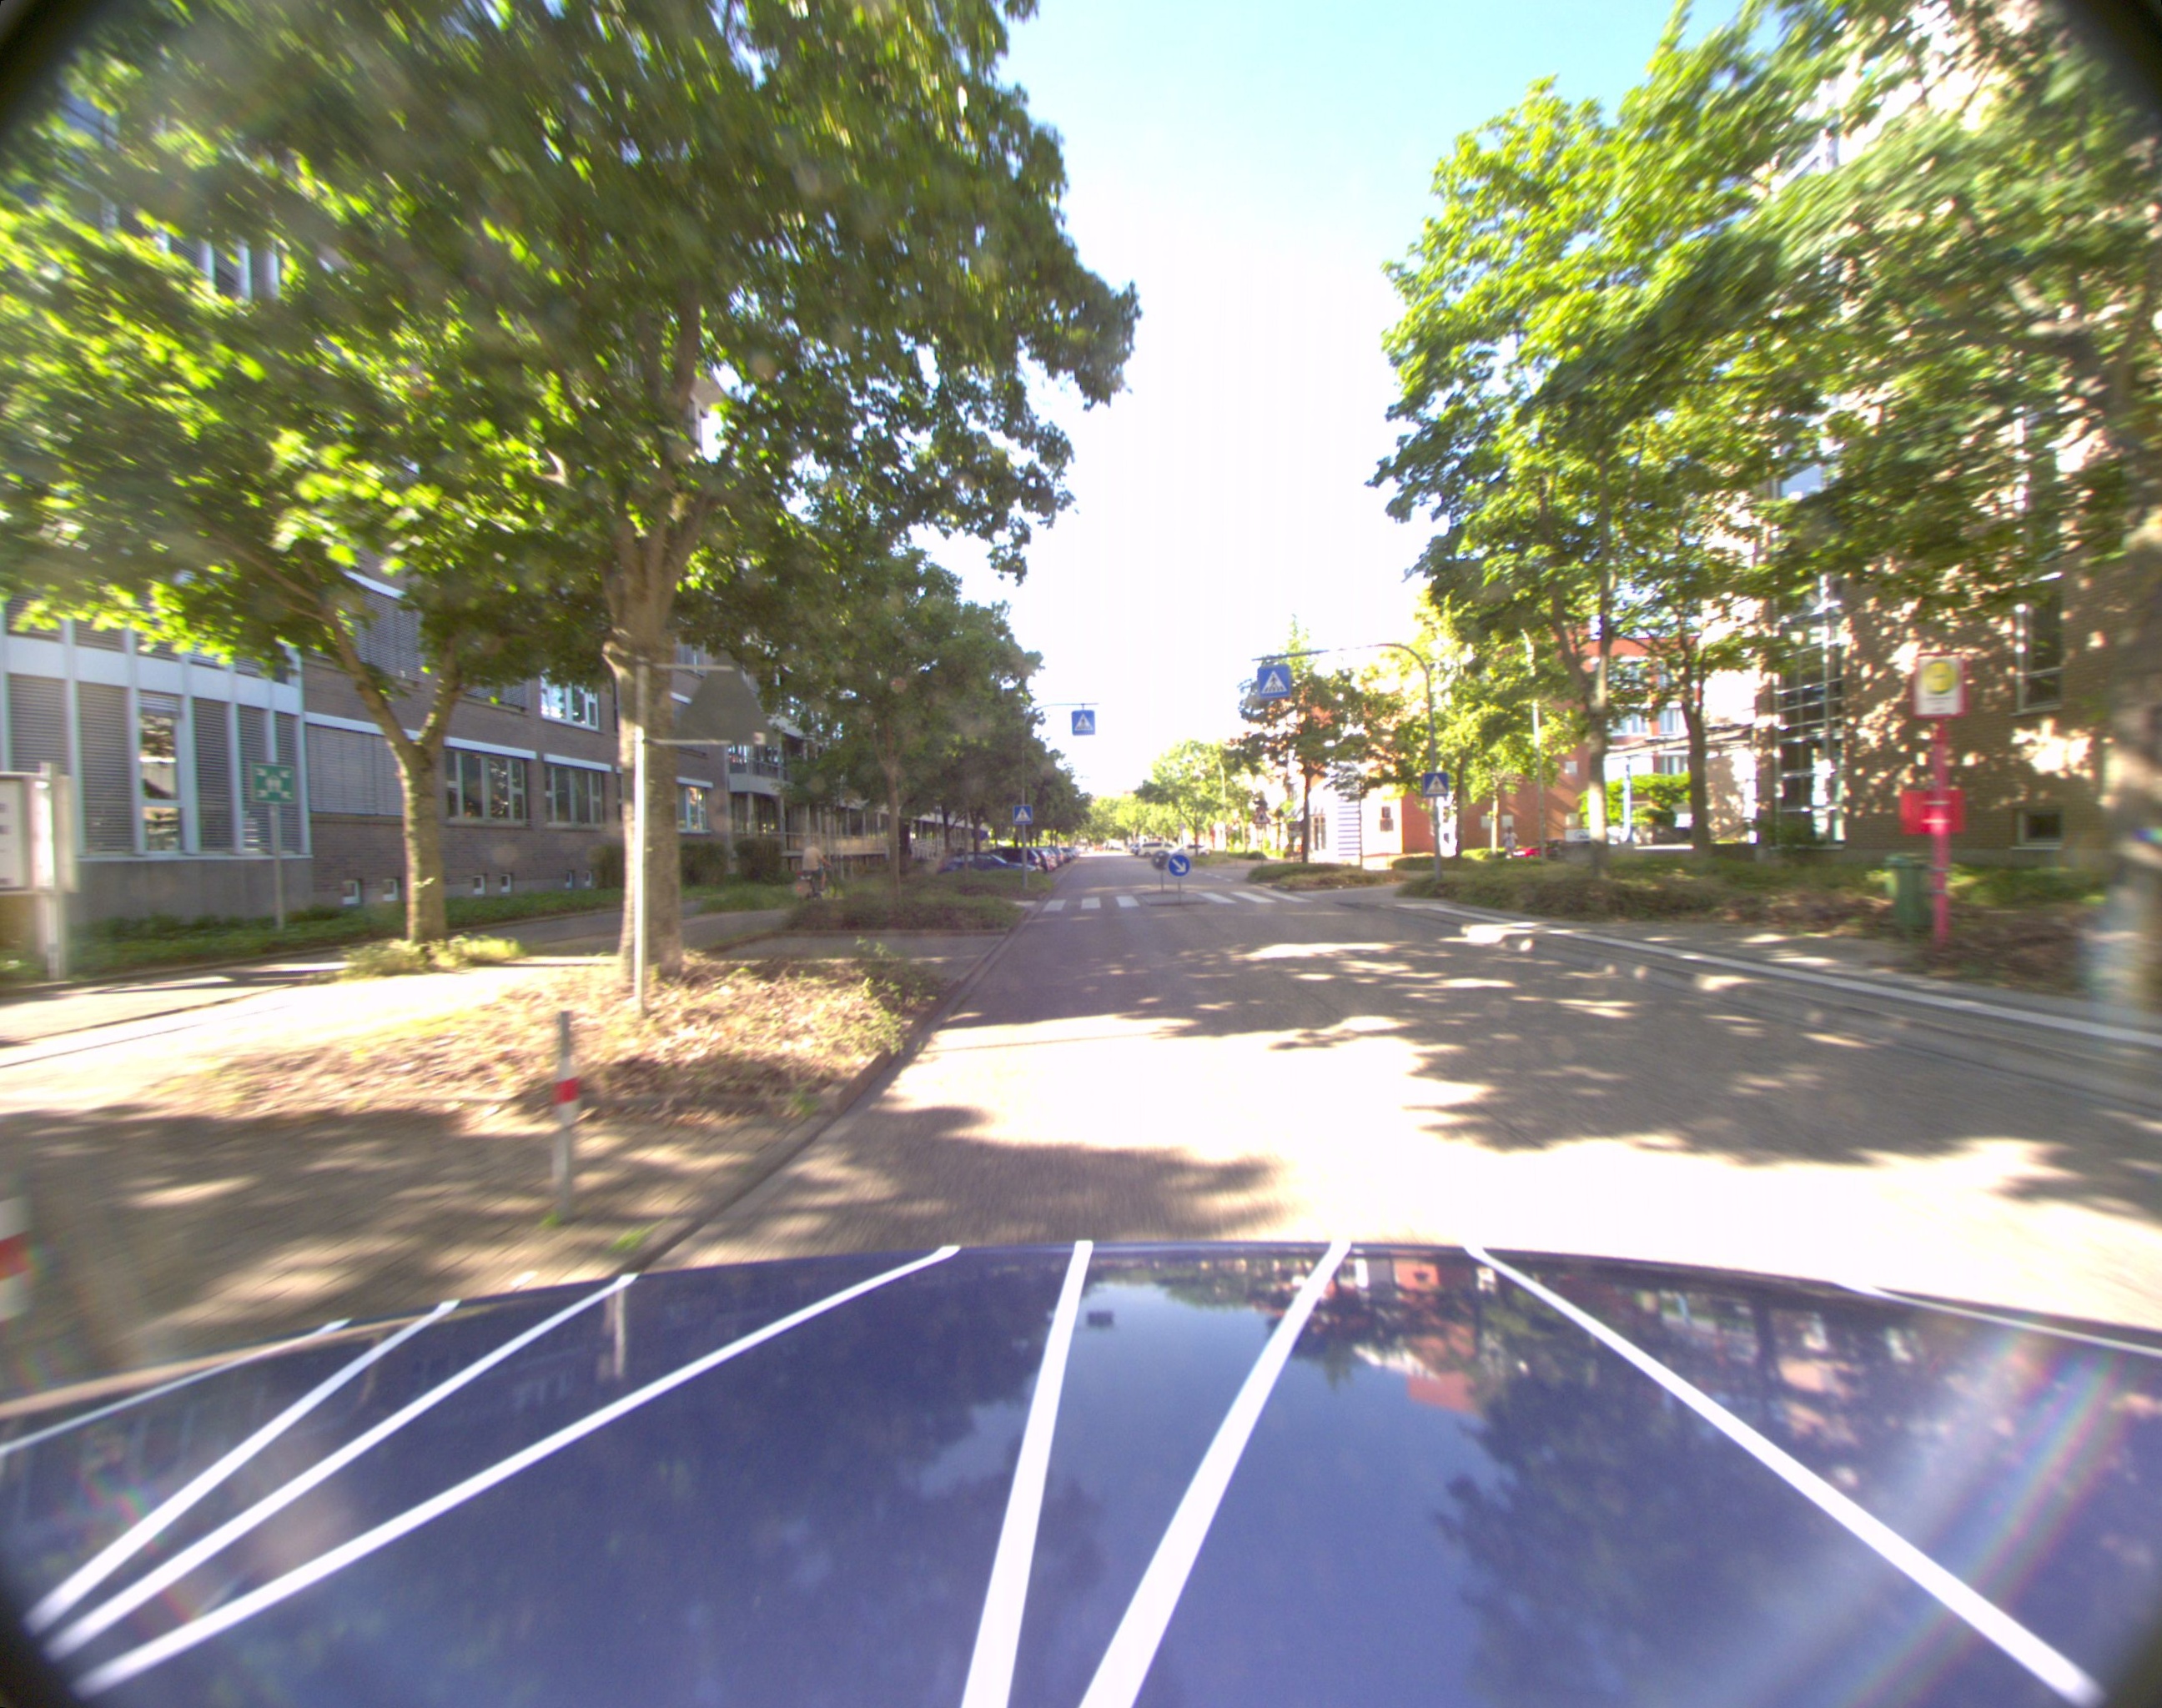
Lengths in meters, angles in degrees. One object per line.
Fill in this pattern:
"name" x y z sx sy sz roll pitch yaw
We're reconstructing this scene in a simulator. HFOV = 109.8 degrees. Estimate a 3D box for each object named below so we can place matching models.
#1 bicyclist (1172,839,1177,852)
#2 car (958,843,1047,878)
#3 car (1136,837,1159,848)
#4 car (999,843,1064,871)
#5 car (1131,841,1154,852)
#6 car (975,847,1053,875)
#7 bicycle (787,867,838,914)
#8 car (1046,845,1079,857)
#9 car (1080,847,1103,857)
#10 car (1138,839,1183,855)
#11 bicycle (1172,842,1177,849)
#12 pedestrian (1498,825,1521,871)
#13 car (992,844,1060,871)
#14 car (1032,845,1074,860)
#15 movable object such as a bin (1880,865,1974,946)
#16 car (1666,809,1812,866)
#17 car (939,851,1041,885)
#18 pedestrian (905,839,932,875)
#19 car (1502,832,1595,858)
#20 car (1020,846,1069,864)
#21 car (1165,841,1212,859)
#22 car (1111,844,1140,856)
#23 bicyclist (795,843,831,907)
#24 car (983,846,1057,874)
"bicyclist" 14.398 -1.277 116.972 0.633 2.002 0.609 -3 2 4
"car" -3.731 0.291 36.403 4.136 1.581 1.659 0 3 -3
"car" 10.231 -1.742 117.136 3.451 1.619 1.594 -1 1 1
"car" -3.241 0.151 49.924 4.136 1.657 1.907 -2 1 -3
"car" 9.630 -1.118 119.032 3.451 1.647 1.594 -1 1 1
"car" -3.572 0.360 40.892 4.136 1.453 1.659 0 1 -3
"bicycle" -6.894 0.908 19.591 0.535 1.072 1.919 -2 1 2
"car" -2.299 -0.387 94.454 3.998 1.471 1.803 -1 1 -2
"car" 1.662 -0.321 118.464 3.554 1.544 1.743 0 -1 -2
"car" 9.639 -0.827 92.264 5.317 1.876 2.000 -1 1 2
"bicycle" 14.415 -1.304 116.976 0.637 1.093 2.155 -4 2 5
"pedestrian" 17.980 -0.244 31.888 0.623 1.907 0.672 -1 1 2
"car" -3.361 0.206 46.982 3.996 1.575 1.714 -1 1 2
"car" -2.696 -0.128 72.445 3.916 1.374 1.586 0 2 -3
"movable object such as a bin" 8.172 0.489 7.350 0.443 0.727 0.408 -3 1 1
"car" 32.103 -0.798 37.175 5.474 2.554 1.923 -2 1 0
"car" -3.731 0.579 31.720 4.126 1.363 1.654 0 1 -3
"pedestrian" -8.389 0.123 39.269 1.037 1.788 1.018 -3 1 0
"car" 28.226 -0.543 45.948 4.437 1.444 1.848 -2 1 2
"car" -3.062 0.068 64.046 3.995 1.486 1.714 0 1 4
"car" 9.864 -0.400 69.771 4.003 1.411 1.618 -3 1 0
"car" 6.406 -0.573 109.798 4.006 1.637 1.795 -1 1 2
"bicyclist" -6.906 0.528 19.609 0.538 1.627 0.822 -2 1 2
"car" -3.458 0.309 43.467 4.136 1.508 1.836 -1 1 -3
